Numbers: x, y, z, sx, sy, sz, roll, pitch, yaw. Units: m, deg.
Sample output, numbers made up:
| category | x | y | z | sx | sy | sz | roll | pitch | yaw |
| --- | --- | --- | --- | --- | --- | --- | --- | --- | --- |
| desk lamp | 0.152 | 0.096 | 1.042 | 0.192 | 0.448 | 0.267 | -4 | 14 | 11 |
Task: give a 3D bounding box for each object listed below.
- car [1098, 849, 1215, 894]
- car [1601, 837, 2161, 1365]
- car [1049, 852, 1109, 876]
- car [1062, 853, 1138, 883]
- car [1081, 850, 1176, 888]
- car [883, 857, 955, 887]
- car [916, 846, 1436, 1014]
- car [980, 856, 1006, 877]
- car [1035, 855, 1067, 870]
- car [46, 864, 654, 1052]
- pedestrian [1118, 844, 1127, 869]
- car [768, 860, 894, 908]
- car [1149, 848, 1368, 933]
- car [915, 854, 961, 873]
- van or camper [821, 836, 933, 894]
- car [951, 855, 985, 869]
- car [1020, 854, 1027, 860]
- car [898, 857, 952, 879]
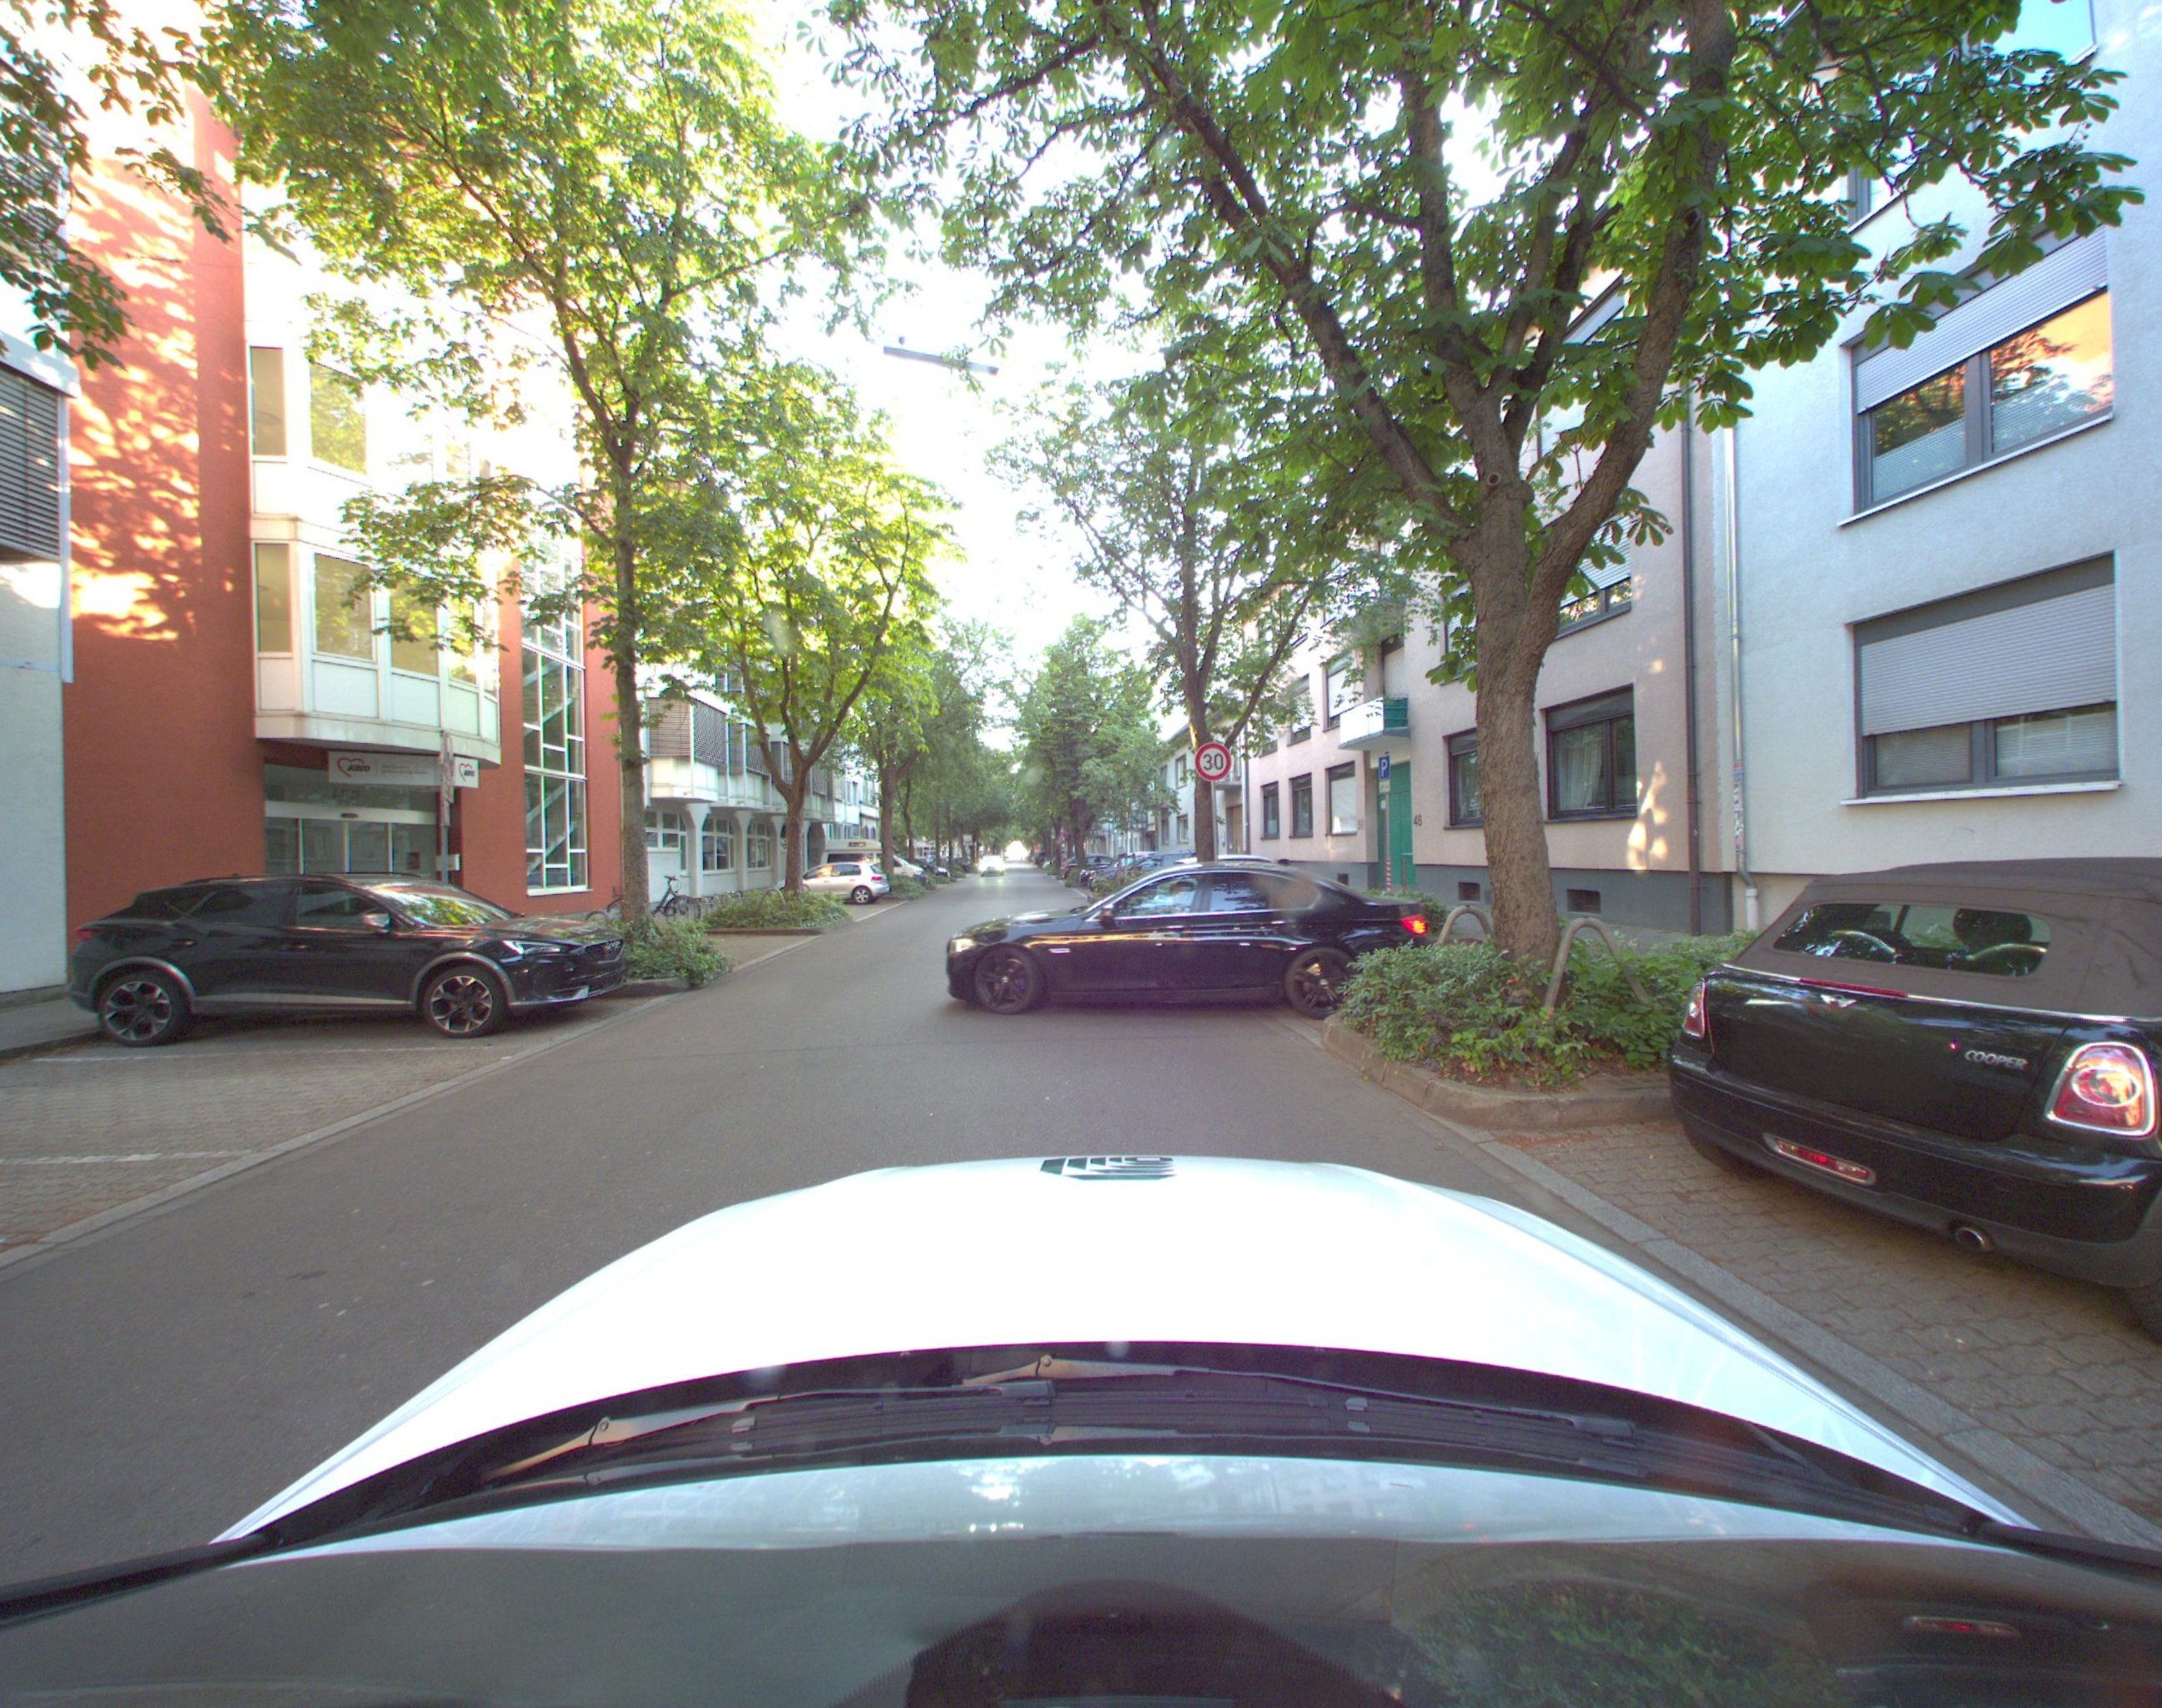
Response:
| category | x | y | z | sx | sy | sz | roll | pitch | yaw |
| --- | --- | --- | --- | --- | --- | --- | --- | --- | --- |
| car | 2.704 | 0.630 | 29.745 | 3.963 | 1.476 | 1.781 | -2 | 0 | -7 |
| car | 4.349 | 0.632 | 3.265 | 3.608 | 1.363 | 1.660 | -2 | 0 | -8 |
| car | -0.171 | 0.658 | 56.984 | 3.963 | 1.527 | 1.781 | -2 | 0 | -6 |
| car | 1.021 | 0.742 | 45.081 | 3.962 | 1.527 | 1.782 | -2 | 0 | -5 |
| car | 2.079 | 0.665 | 36.239 | 3.962 | 1.527 | 1.782 | -2 | 0 | -5 |
| car | -9.590 | 1.042 | 48.418 | 3.960 | 1.619 | 1.783 | -2 | 0 | -4 |
| car | 0.909 | 0.727 | 8.397 | 4.718 | 1.480 | 1.804 | -1 | 0 | 8 |
| car | -6.978 | 0.967 | 64.745 | 1.775 | 1.562 | 4.162 | -1 | 0 | -4 |
| car | -3.721 | 1.055 | 101.050 | 3.959 | 1.684 | 1.783 | -2 | 0 | -4 |
| car | -7.020 | 0.929 | 8.270 | 4.347 | 1.517 | 1.782 | -2 | 0 | -5 |
| pedestrian | 3.356 | 0.201 | 65.752 | 0.587 | 2.013 | 0.669 | -2 | 0 | -3 |
| car | -8.844 | 1.048 | 29.081 | 3.960 | 1.517 | 1.783 | -2 | 0 | -4 |
| car | 3.433 | 0.674 | 16.115 | 3.904 | 1.476 | 1.661 | -2 | 0 | -7 |
| car | -13.427 | 0.865 | 76.620 | 3.959 | 1.619 | 1.783 | -2 | 0 | -4 |
| van or camper | -9.289 | 0.483 | 37.415 | 4.656 | 2.478 | 1.997 | -1 | 0 | -5 |
| car | -14.248 | 1.026 | 102.791 | 3.959 | 1.619 | 1.783 | -2 | 0 | -4 |
| car | -14.863 | 0.828 | 209.864 | 1.819 | 1.530 | 3.995 | -2 | 0 | -4 |
| car | -12.394 | 1.067 | 64.964 | 3.959 | 1.619 | 1.783 | -2 | 0 | -4 |
